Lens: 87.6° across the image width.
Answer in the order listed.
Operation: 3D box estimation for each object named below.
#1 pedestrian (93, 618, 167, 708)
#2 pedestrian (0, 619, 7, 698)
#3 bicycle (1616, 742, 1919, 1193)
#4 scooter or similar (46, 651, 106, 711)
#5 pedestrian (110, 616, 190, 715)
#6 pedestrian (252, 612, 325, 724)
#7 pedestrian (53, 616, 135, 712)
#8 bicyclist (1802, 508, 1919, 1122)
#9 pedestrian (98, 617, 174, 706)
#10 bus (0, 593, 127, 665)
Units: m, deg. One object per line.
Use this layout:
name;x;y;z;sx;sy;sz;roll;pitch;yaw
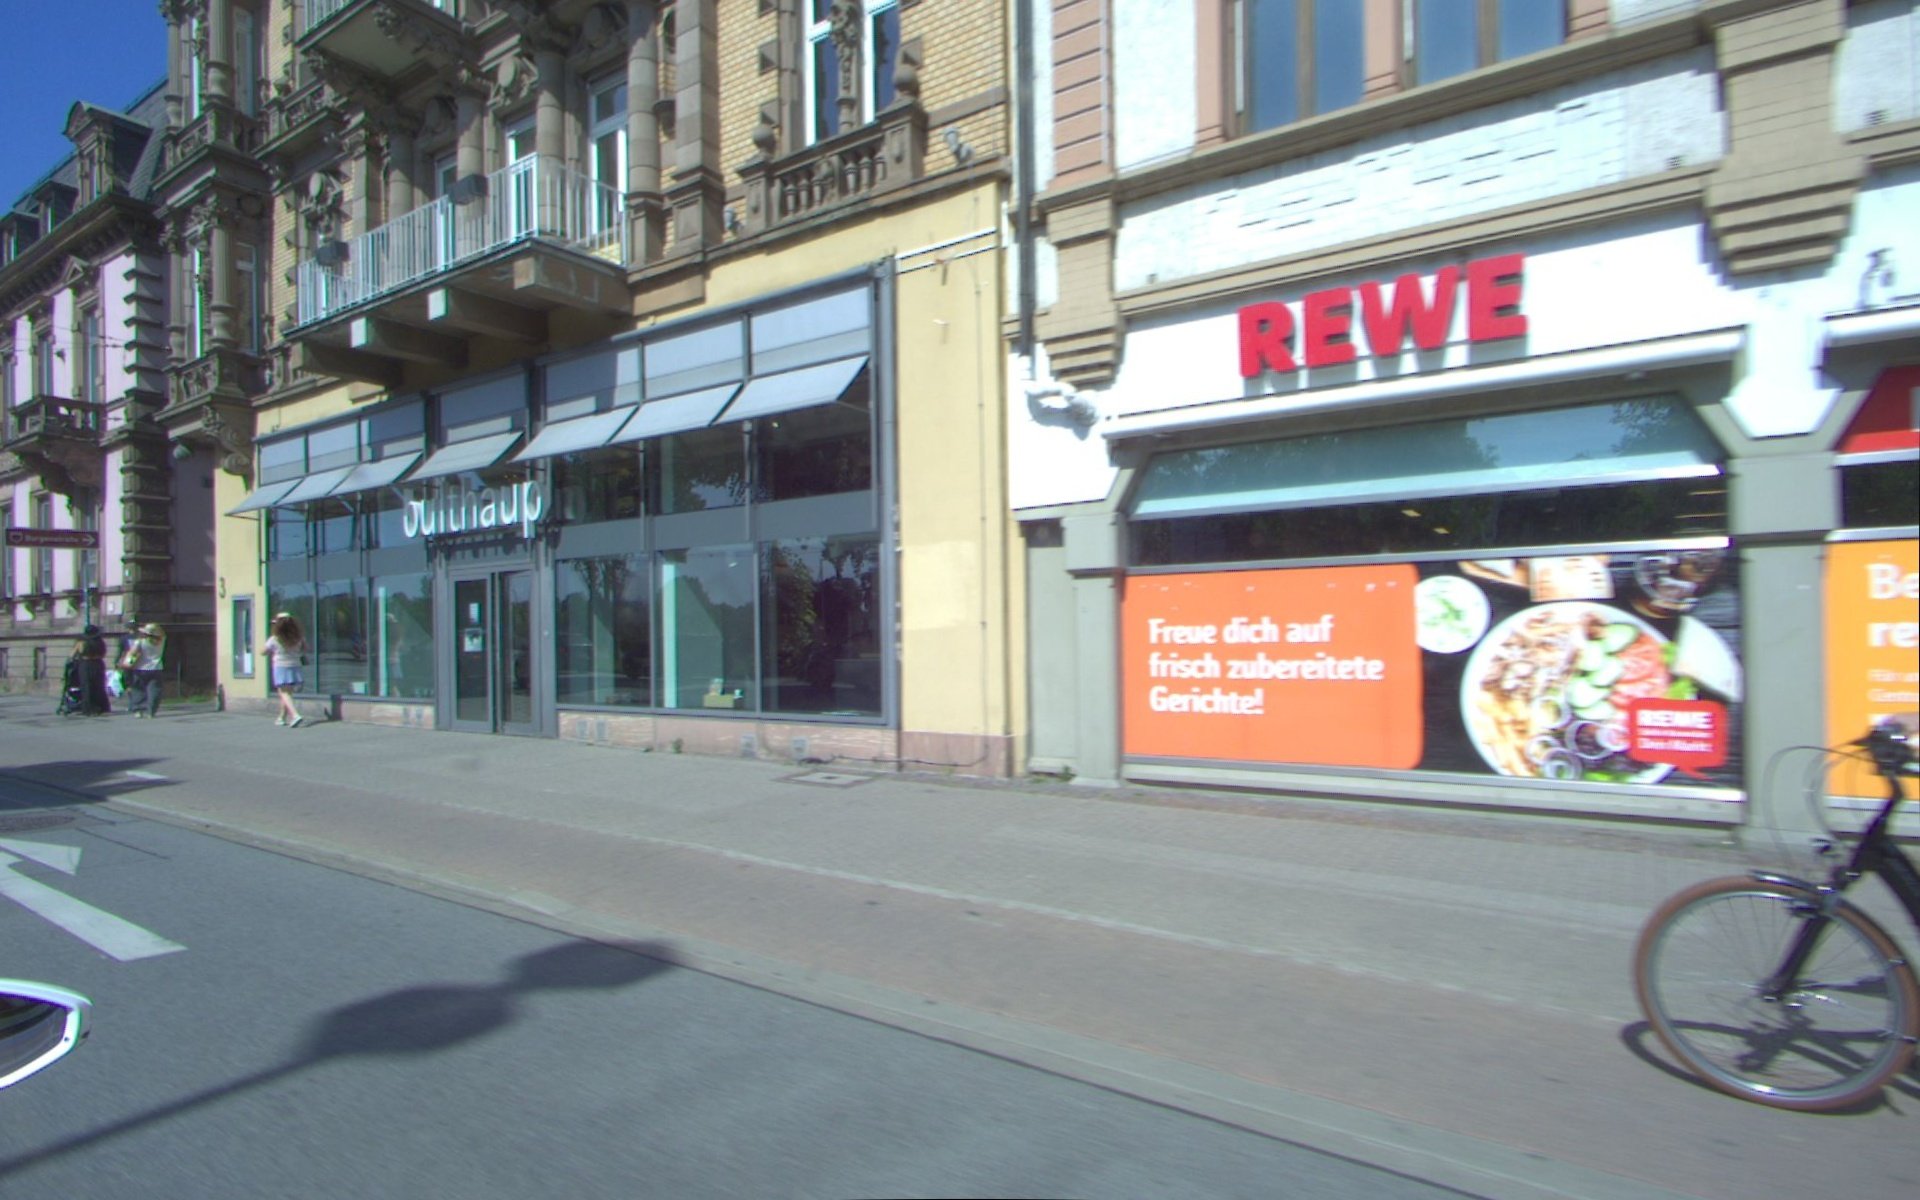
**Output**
pedestrian;-15.749;1.174;18.998;0.863;1.661;0.861;-1;-1;32
pedestrian;-20.758;1.234;21.061;0.863;1.661;0.861;-1;-1;32
bicycle;2.980;1.009;2.715;1.892;1.106;0.730;-3;-5;44
scooter or similar;-16.203;1.474;18.354;0.788;1.060;0.599;-2;-4;32
pedestrian;-14.150;1.123;17.499;0.863;1.661;0.861;-1;-1;32
pedestrian;-10.193;1.006;15.202;0.804;1.642;0.653;-1;0;32
pedestrian;-15.589;1.156;18.034;0.863;1.660;0.861;-2;-4;32
bicyclist;2.979;0.575;2.750;0.684;1.636;0.910;3;-4;-43
pedestrian;-15.899;1.189;19.325;0.863;1.660;0.861;-2;-4;32
bus;-39.543;1.234;41.136;2.921;2.810;8.651;0;-4;4
